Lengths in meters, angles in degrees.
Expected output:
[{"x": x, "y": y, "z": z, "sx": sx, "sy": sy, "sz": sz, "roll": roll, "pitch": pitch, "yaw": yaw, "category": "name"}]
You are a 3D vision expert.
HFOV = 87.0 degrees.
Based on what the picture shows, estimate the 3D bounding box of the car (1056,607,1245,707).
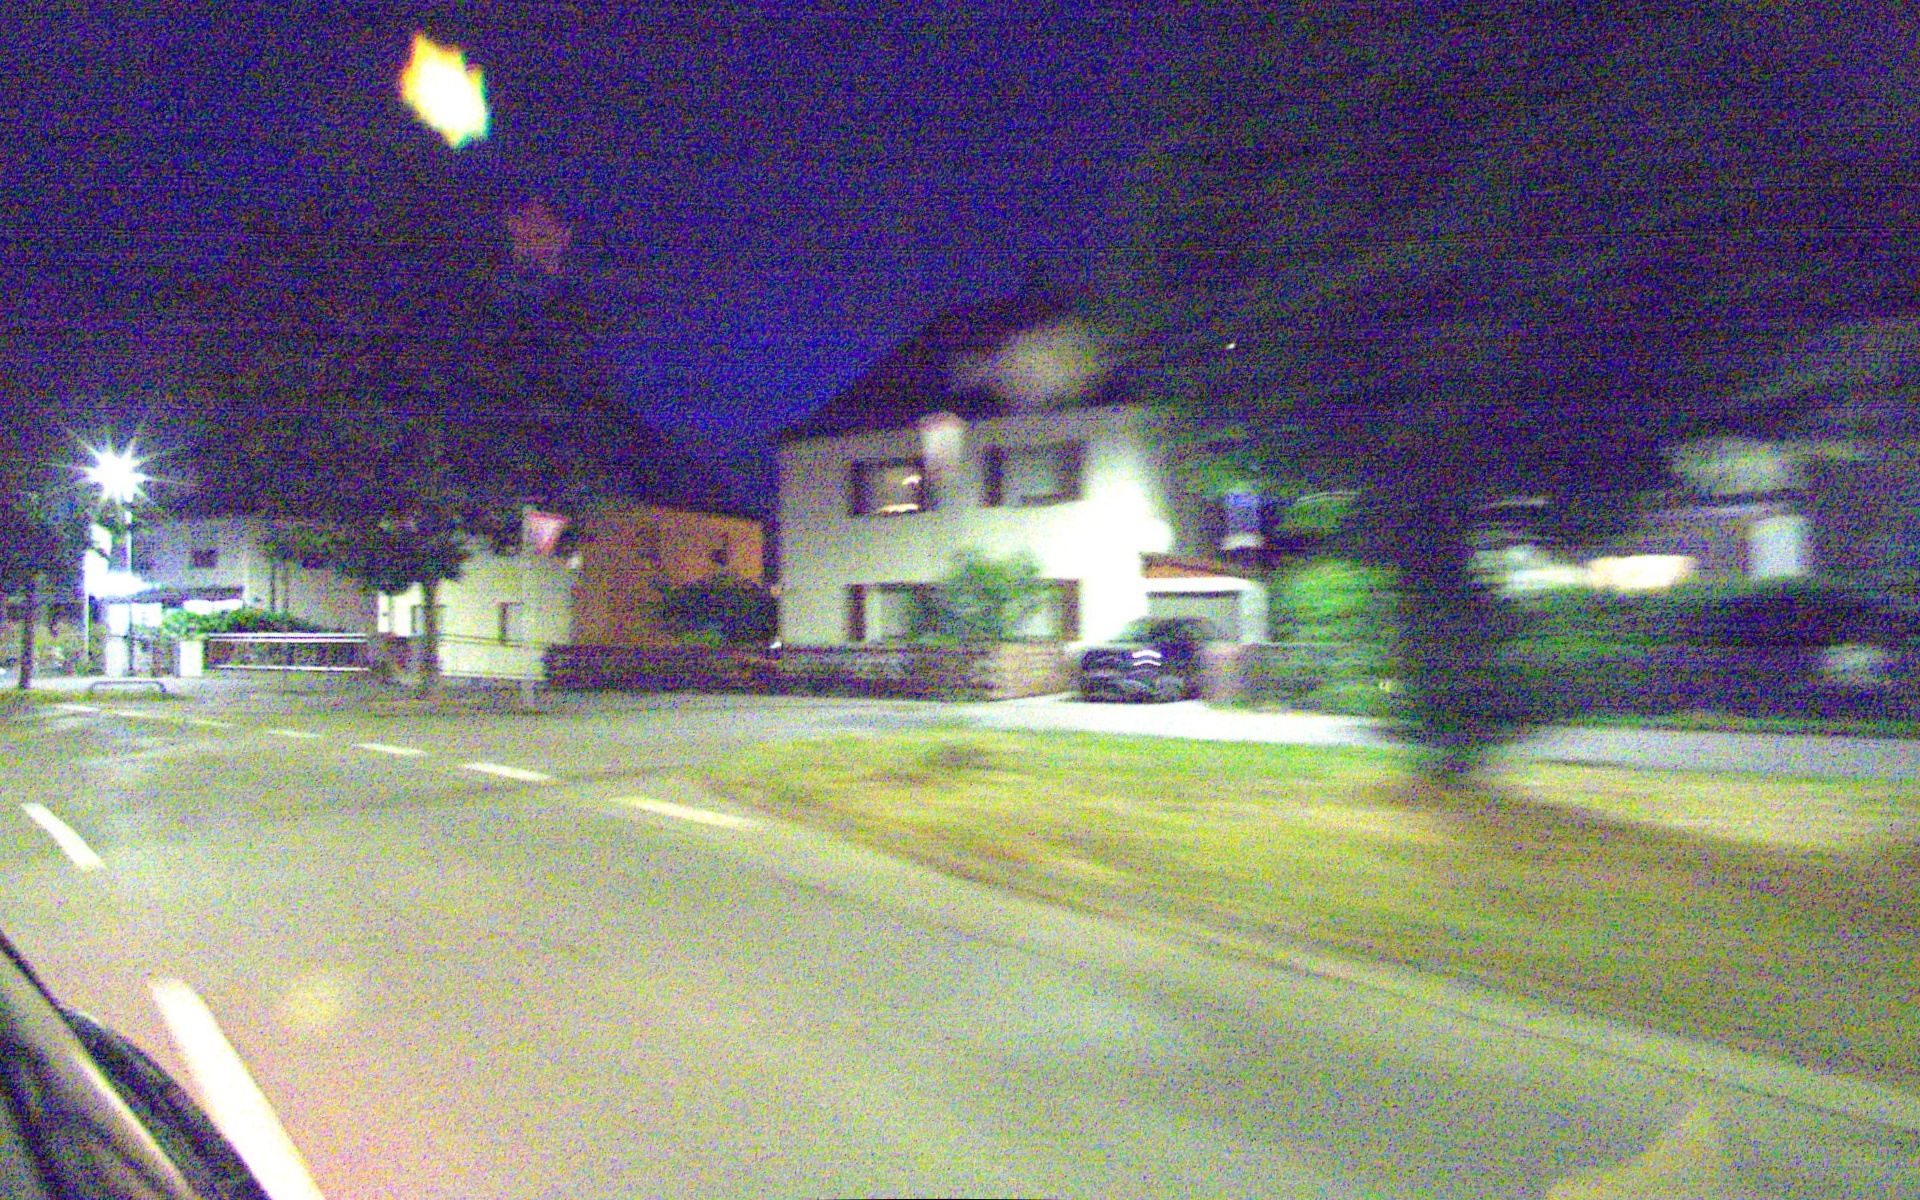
[{"x": 3.566, "y": 1.000, "z": 18.583, "sx": 1.782, "sy": 1.639, "sz": 3.673, "roll": -2, "pitch": -3, "yaw": 42, "category": "car"}]
